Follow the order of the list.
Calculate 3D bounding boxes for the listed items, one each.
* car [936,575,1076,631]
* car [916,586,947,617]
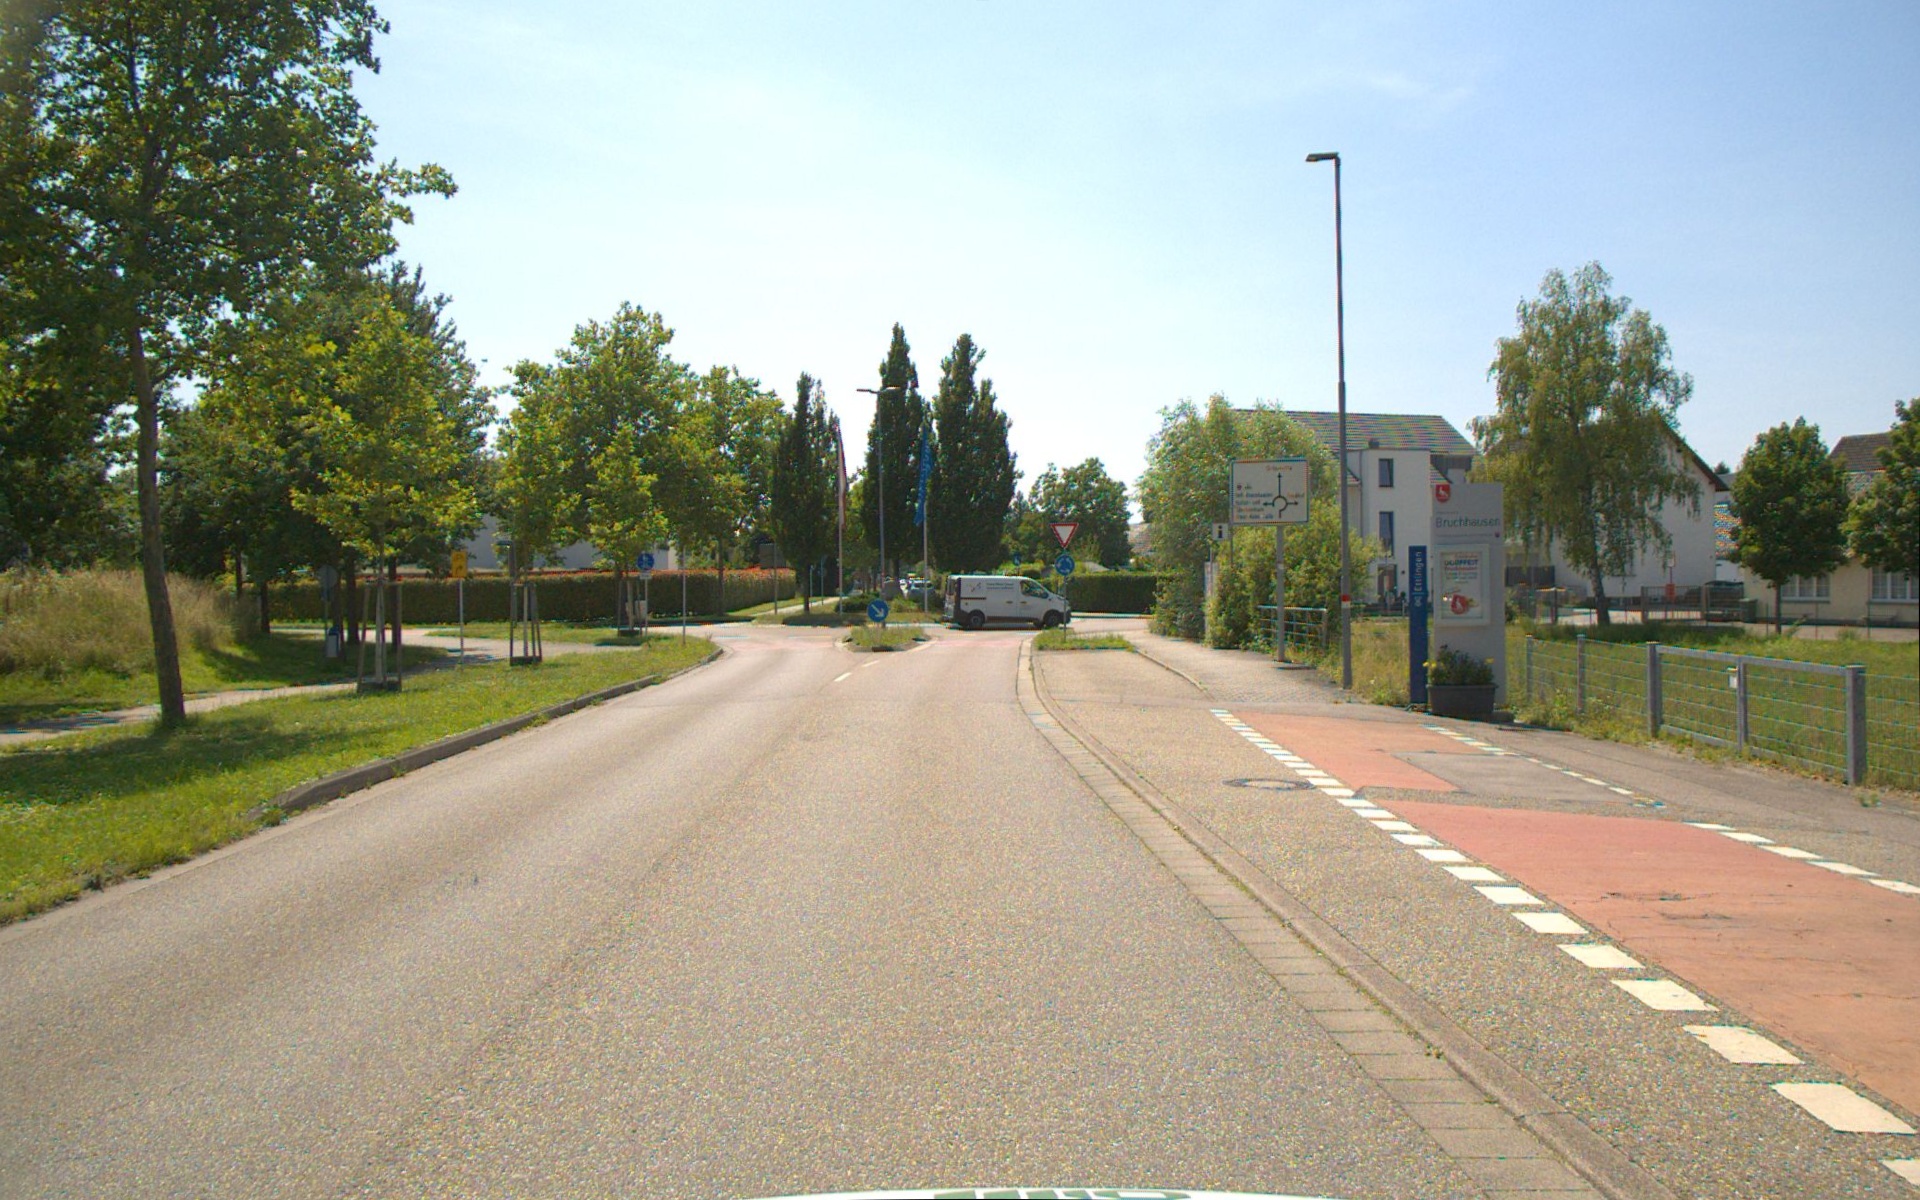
[{"bbox_3d":[1.753,0.123,63.619,5.041,2.049,2.128,1,0,-12],"label":"car"},{"bbox_3d":[-1.833,0.092,105.700,1.884,1.919,3.998,1,0,-2],"label":"car"}]
